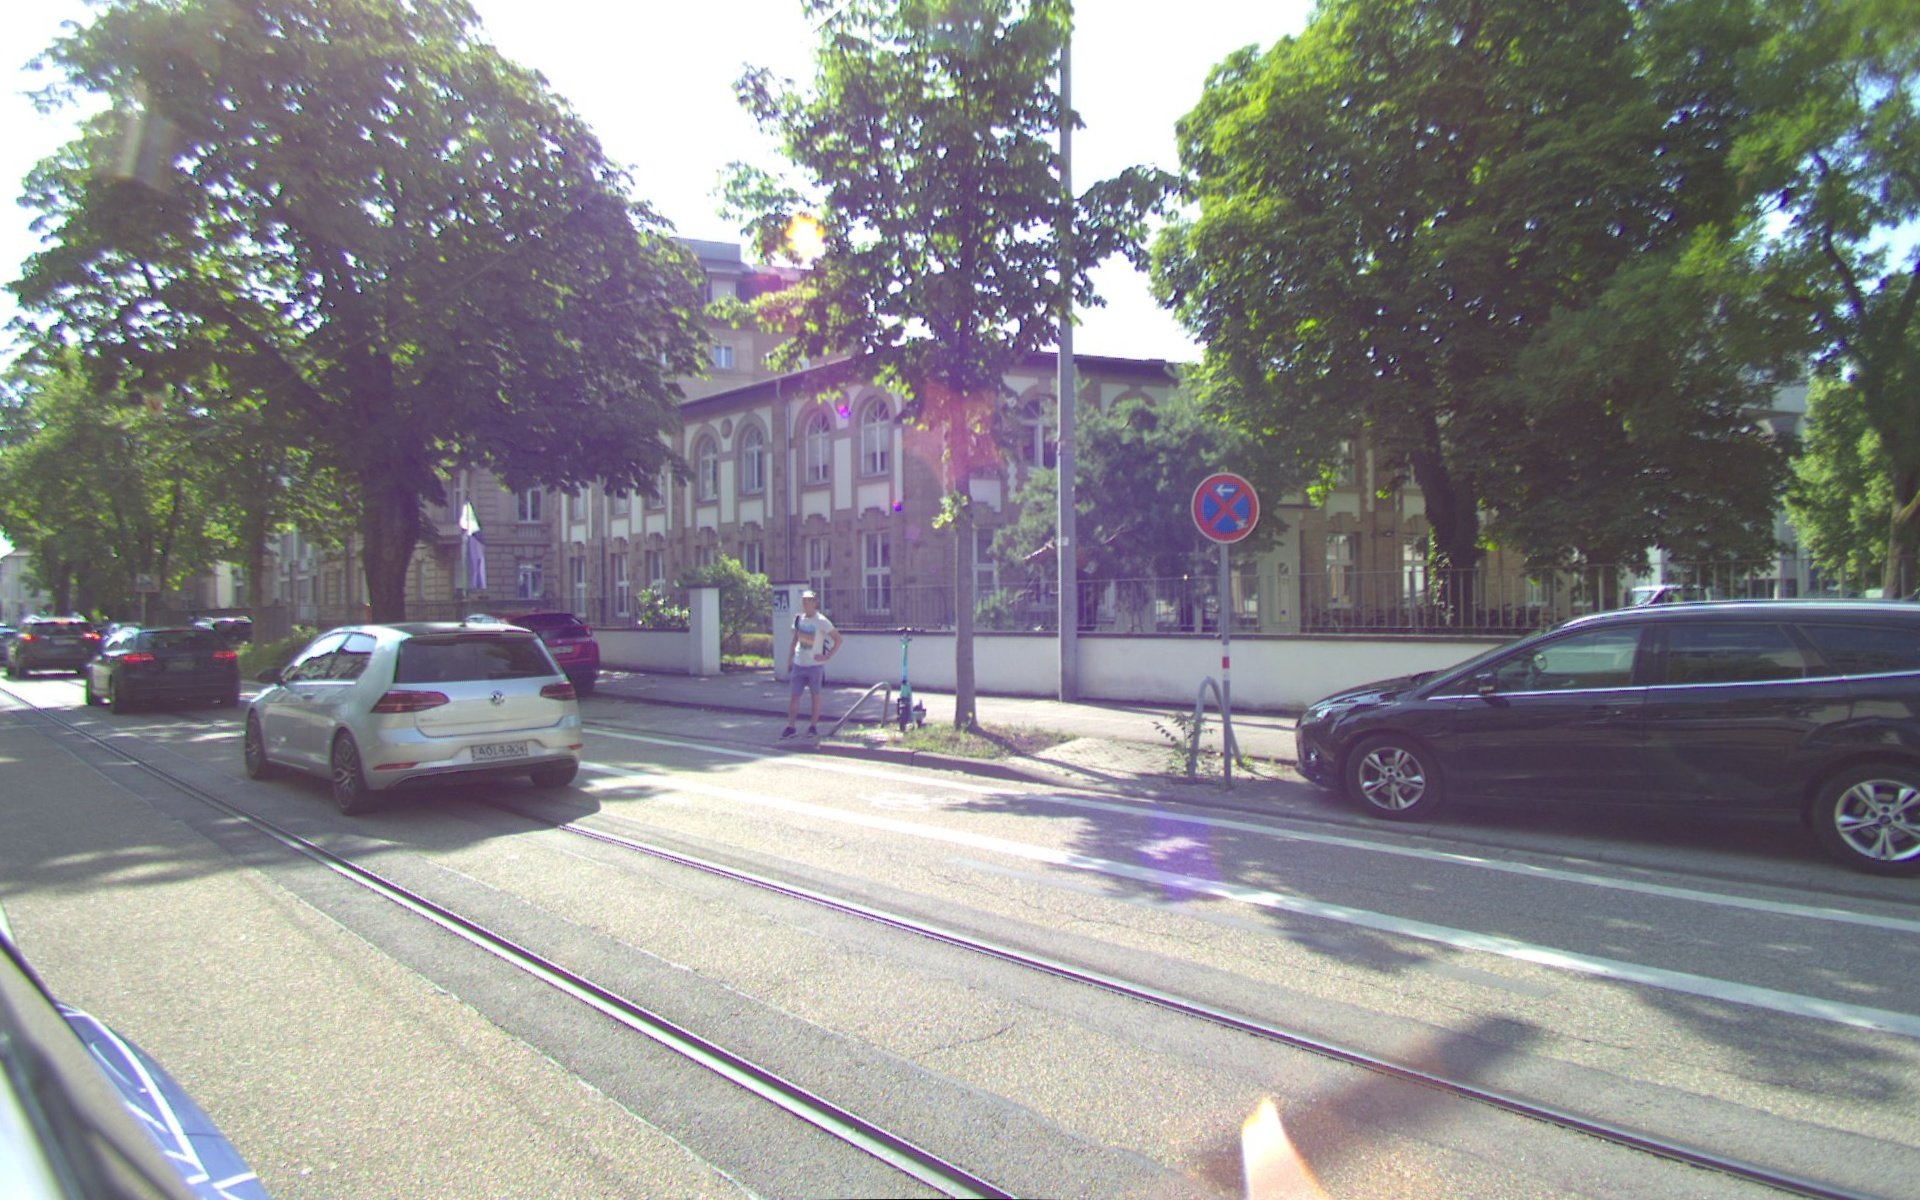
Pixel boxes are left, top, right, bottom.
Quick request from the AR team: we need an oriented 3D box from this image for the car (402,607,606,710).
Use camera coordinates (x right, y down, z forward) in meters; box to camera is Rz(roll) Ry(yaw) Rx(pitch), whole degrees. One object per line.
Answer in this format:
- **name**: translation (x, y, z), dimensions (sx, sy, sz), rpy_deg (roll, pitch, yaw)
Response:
- **car**: translation (-8.744, 1.019, 19.196), dimensions (4.719, 1.678, 1.732), rpy_deg (-1, 1, 42)

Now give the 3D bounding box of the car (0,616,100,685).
- **car**: translation (-25.522, 1.334, 28.210), dimensions (4.390, 1.740, 1.806), rpy_deg (-1, 0, 42)

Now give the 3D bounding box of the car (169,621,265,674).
- **car**: translation (-25.750, 1.592, 35.014), dimensions (4.330, 1.653, 1.787), rpy_deg (-1, 1, 42)

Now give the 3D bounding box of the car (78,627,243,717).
- **car**: translation (-14.057, 1.172, 17.721), dimensions (4.001, 1.386, 1.704), rpy_deg (-1, -2, 44)

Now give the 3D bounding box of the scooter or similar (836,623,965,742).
- **scooter or similar**: translation (-0.709, 0.949, 12.253), dimensions (0.855, 1.289, 1.325), rpy_deg (-1, 1, 41)

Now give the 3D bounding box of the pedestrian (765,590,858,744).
- **pedestrian**: translation (-1.803, 0.782, 12.294), dimensions (0.750, 1.780, 0.782), rpy_deg (-1, 1, 33)

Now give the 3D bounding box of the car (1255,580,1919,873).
- **car**: translation (4.561, 0.676, 6.870), dimensions (4.588, 1.527, 1.732), rpy_deg (-1, 1, 40)

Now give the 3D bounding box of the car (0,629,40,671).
- **car**: translation (-33.229, 1.689, 34.895), dimensions (4.425, 1.399, 1.780), rpy_deg (-2, -3, 42)

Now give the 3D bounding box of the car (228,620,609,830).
- **car**: translation (-4.865, 0.892, 8.874), dimensions (3.851, 1.427, 1.754), rpy_deg (-1, -1, 42)

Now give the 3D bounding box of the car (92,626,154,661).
- **car**: translation (-39.301, 2.008, 47.484), dimensions (3.807, 1.496, 1.637), rpy_deg (-1, 1, 42)
